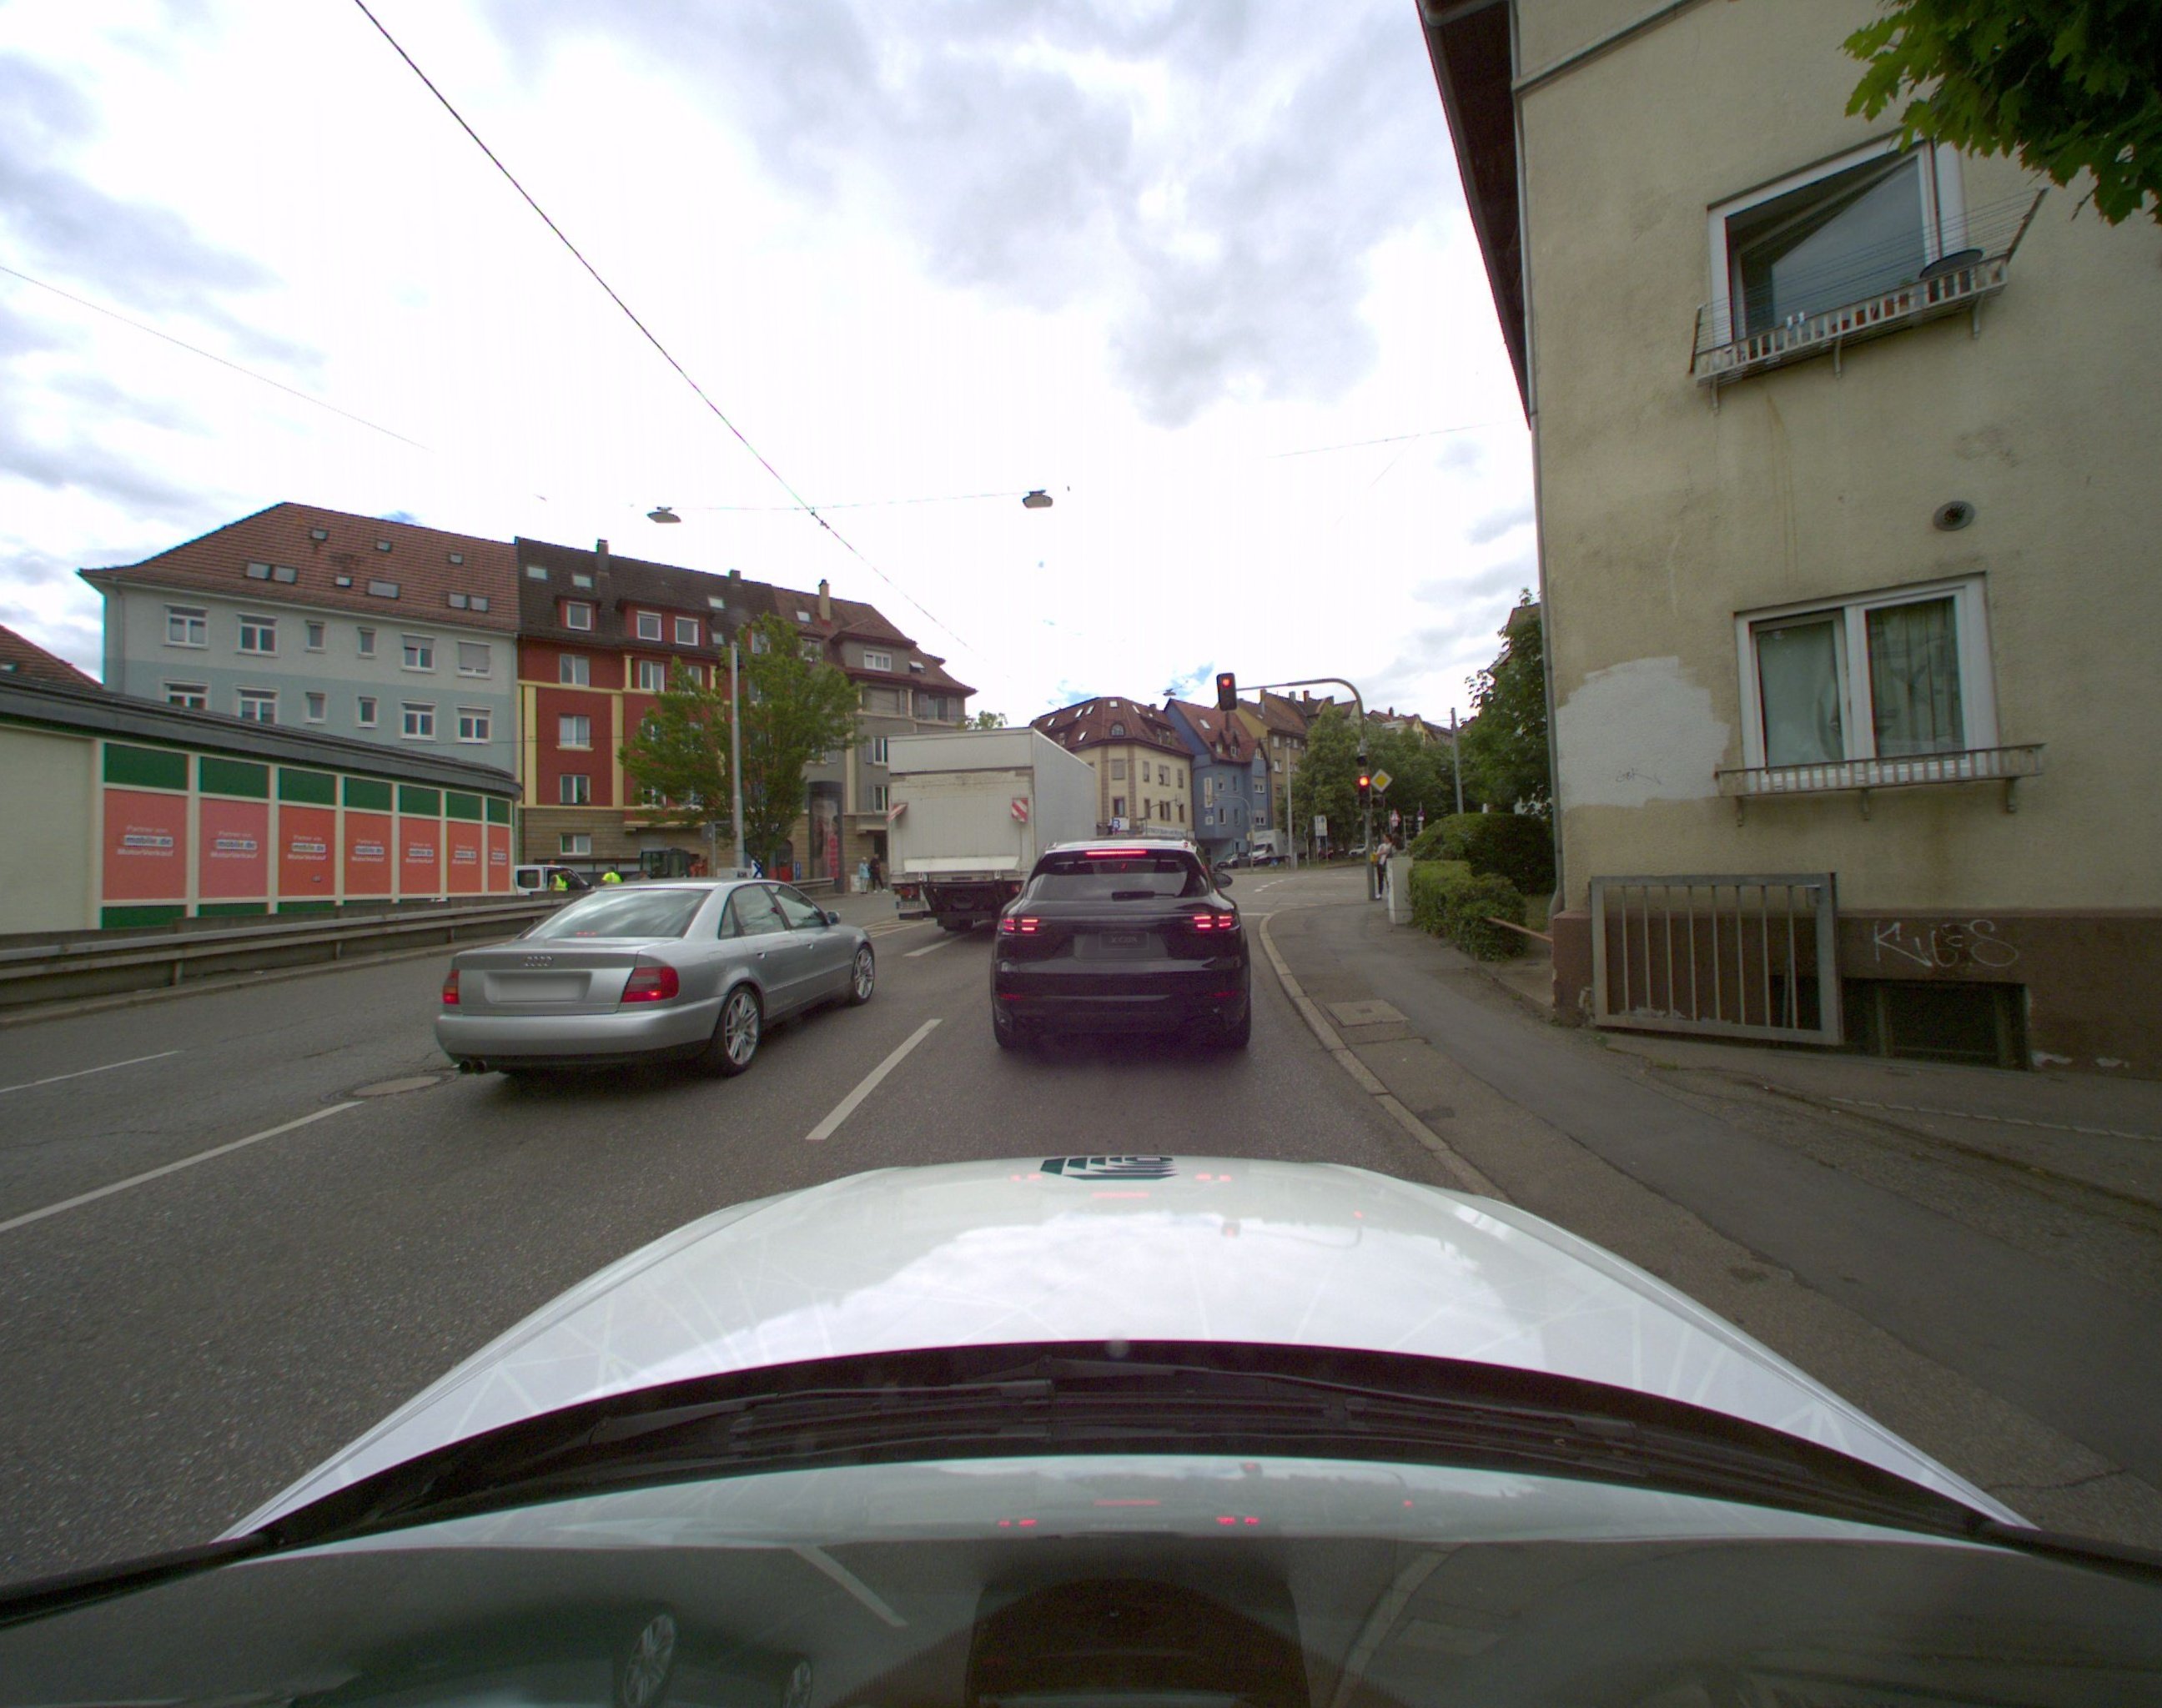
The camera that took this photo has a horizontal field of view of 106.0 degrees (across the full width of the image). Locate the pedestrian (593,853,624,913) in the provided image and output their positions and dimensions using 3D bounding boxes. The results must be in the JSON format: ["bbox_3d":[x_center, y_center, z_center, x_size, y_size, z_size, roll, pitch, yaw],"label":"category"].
[{"bbox_3d":[-14.087,0.849,24.282,0.570,1.761,0.616,1,-1,-8],"label":"pedestrian"}]

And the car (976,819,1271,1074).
[{"bbox_3d":[0.265,0.605,7.534,1.973,1.684,3.998,-1,0,-1],"label":"car"}]

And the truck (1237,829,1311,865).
[{"bbox_3d":[18.677,-0.640,78.244,2.846,3.340,8.846,0,0,43],"label":"truck"}]

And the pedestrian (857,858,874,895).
[{"bbox_3d":[-9.342,0.963,35.330,0.587,1.567,0.486,1,-1,1],"label":"pedestrian"}]

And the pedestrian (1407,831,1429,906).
[{"bbox_3d":[8.303,0.350,20.080,0.459,1.837,0.325,0,-1,16],"label":"pedestrian"}]

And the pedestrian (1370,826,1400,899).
[{"bbox_3d":[7.654,0.213,20.512,0.586,1.819,0.530,1,-1,7],"label":"pedestrian"}]

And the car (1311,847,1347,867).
[{"bbox_3d":[26.151,0.318,85.709,1.975,2.014,4.023,0,-1,45],"label":"car"}]

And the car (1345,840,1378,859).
[{"bbox_3d":[31.265,-0.461,90.730,1.975,2.014,4.023,0,-1,45],"label":"car"}]

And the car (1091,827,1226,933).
[{"bbox_3d":[1.582,0.433,15.155,1.980,1.684,4.014,-1,0,12],"label":"car"}]

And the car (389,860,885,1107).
[{"bbox_3d":[-3.149,0.792,6.925,1.689,1.373,4.182,-1,1,4],"label":"car"}]

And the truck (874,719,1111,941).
[{"bbox_3d":[-1.333,-0.404,17.335,2.751,3.575,8.088,-1,0,10],"label":"truck"}]

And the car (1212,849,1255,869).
[{"bbox_3d":[13.471,0.449,71.729,1.974,1.684,4.025,-2,-1,41],"label":"car"}]

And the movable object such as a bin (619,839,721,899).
[{"bbox_3d":[-13.086,0.464,26.186,1.903,1.771,3.984,1,0,-11],"label":"movable object such as a bin"}]

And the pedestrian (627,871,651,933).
[{"bbox_3d":[-12.594,1.354,23.207,0.545,1.730,0.587,1,-1,-33],"label":"pedestrian"}]

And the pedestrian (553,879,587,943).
[{"bbox_3d":[-13.706,1.519,21.844,0.562,1.700,0.541,1,-1,-10],"label":"pedestrian"}]

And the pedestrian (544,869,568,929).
[{"bbox_3d":[-15.554,1.326,24.113,0.479,1.730,0.536,1,-1,-44],"label":"pedestrian"}]
